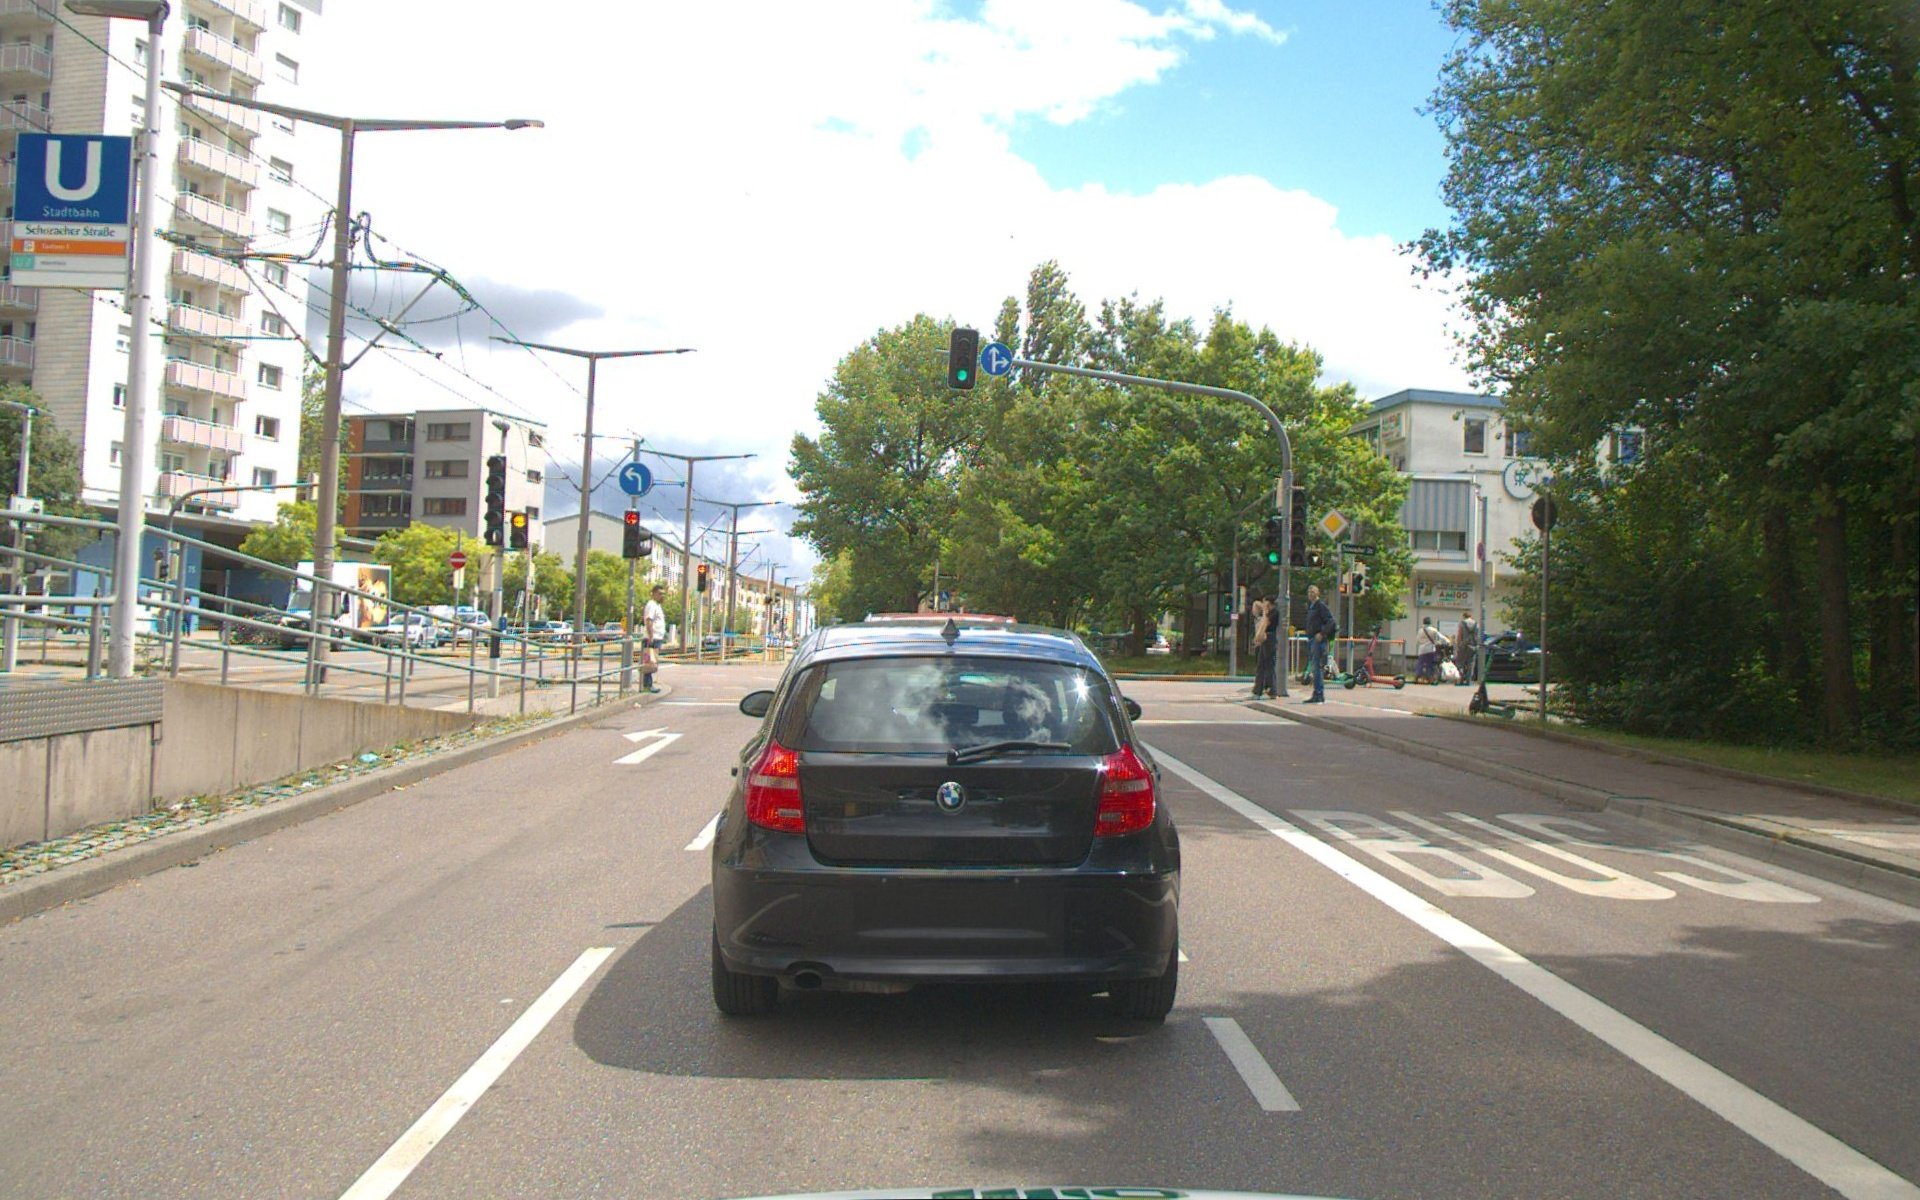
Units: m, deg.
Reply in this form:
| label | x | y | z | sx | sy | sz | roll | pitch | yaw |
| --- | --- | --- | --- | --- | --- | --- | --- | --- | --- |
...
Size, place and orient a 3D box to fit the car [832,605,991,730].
| label | x | y | z | sx | sy | sz | roll | pitch | yaw |
| --- | --- | --- | --- | --- | --- | --- | --- | --- | --- |
| car | -0.609 | 0.819 | 21.899 | 1.862 | 1.447 | 4.538 | 1 | 0 | -1 |

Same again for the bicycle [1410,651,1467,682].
| label | x | y | z | sx | sy | sz | roll | pitch | yaw |
| --- | --- | --- | --- | --- | --- | --- | --- | --- | --- |
| bicycle | 10.842 | 1.510 | 37.513 | 0.523 | 0.620 | 1.585 | 3 | -1 | -13 |

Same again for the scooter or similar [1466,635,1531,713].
| label | x | y | z | sx | sy | sz | roll | pitch | yaw |
| --- | --- | --- | --- | --- | --- | --- | --- | --- | --- |
| scooter or similar | 9.376 | 1.288 | 28.795 | 0.872 | 1.251 | 0.454 | 6 | -1 | -1 |

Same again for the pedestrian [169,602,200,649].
| label | x | y | z | sx | sy | sz | roll | pitch | yaw |
| --- | --- | --- | --- | --- | --- | --- | --- | --- | --- |
| pedestrian | -34.063 | 1.101 | 72.685 | 0.841 | 2.049 | 0.847 | 1 | -1 | 17 |

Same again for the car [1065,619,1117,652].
| label | x | y | z | sx | sy | sz | roll | pitch | yaw |
| --- | --- | --- | --- | --- | --- | --- | --- | --- | --- |
| car | 7.168 | 1.940 | 90.769 | 1.830 | 1.691 | 3.988 | 2 | -1 | -12 |

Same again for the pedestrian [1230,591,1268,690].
| label | x | y | z | sx | sy | sz | roll | pitch | yaw |
| --- | --- | --- | --- | --- | --- | --- | --- | --- | --- |
| pedestrian | 5.327 | 0.735 | 30.495 | 0.622 | 1.797 | 0.518 | 1 | -1 | 5 |

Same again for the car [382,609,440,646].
| label | x | y | z | sx | sy | sz | roll | pitch | yaw |
| --- | --- | --- | --- | --- | --- | --- | --- | --- | --- |
| car | -23.514 | 1.171 | 70.921 | 1.379 | 1.486 | 3.772 | 2 | -1 | -3 |

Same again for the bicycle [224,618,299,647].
| label | x | y | z | sx | sy | sz | roll | pitch | yaw |
| --- | --- | --- | --- | --- | --- | --- | --- | --- | --- |
| bicycle | -26.543 | 1.241 | 62.831 | 2.528 | 1.026 | 0.748 | 3 | -3 | -29 |

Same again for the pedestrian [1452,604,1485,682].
| label | x | y | z | sx | sy | sz | roll | pitch | yaw |
| --- | --- | --- | --- | --- | --- | --- | --- | --- | --- |
| pedestrian | 11.619 | 0.975 | 37.823 | 0.644 | 1.743 | 0.461 | 1 | -1 | 25 |

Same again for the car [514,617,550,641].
| label | x | y | z | sx | sy | sz | roll | pitch | yaw |
| --- | --- | --- | --- | --- | --- | --- | --- | --- | --- |
| car | -28.817 | 1.937 | 111.454 | 1.559 | 1.500 | 3.773 | 2 | -1 | -2 |

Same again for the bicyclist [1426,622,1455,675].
| label | x | y | z | sx | sy | sz | roll | pitch | yaw |
| --- | --- | --- | --- | --- | --- | --- | --- | --- | --- |
| bicyclist | 10.879 | 1.101 | 37.467 | 0.492 | 1.177 | 0.398 | 1 | -1 | -13 |

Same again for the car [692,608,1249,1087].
| label | x | y | z | sx | sy | sz | roll | pitch | yaw |
| --- | --- | --- | --- | --- | --- | --- | --- | --- | --- |
| car | 0.011 | 0.761 | 6.723 | 1.666 | 1.424 | 3.419 | 1 | 0 | -1 |

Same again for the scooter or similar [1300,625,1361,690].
| label | x | y | z | sx | sy | sz | roll | pitch | yaw |
| --- | --- | --- | --- | --- | --- | --- | --- | --- | --- |
| scooter or similar | 7.398 | 1.141 | 33.085 | 1.087 | 1.257 | 0.539 | 1 | -1 | 1 |

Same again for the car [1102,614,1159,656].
| label | x | y | z | sx | sy | sz | roll | pitch | yaw |
| --- | --- | --- | --- | --- | --- | --- | --- | --- | --- |
| car | 8.209 | 1.668 | 79.849 | 1.694 | 1.904 | 3.991 | 2 | -1 | -9 |

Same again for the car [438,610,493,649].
| label | x | y | z | sx | sy | sz | roll | pitch | yaw |
| --- | --- | --- | --- | --- | --- | --- | --- | --- | --- |
| car | -23.660 | 1.419 | 79.317 | 1.559 | 1.787 | 3.773 | 2 | -1 | -2 |

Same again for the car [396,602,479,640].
| label | x | y | z | sx | sy | sz | roll | pitch | yaw |
| --- | --- | --- | --- | --- | --- | --- | --- | --- | --- |
| car | -28.021 | 1.132 | 88.756 | 3.893 | 2.009 | 1.630 | 2 | -1 | -43 |

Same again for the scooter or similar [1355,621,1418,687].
| label | x | y | z | sx | sy | sz | roll | pitch | yaw |
| --- | --- | --- | --- | --- | --- | --- | --- | --- | --- |
| scooter or similar | 8.764 | 1.114 | 34.010 | 1.127 | 1.294 | 0.555 | 2 | -1 | 1 |

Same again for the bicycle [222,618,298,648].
| label | x | y | z | sx | sy | sz | roll | pitch | yaw |
| --- | --- | --- | --- | --- | --- | --- | --- | --- | --- |
| bicycle | -26.213 | 1.238 | 61.919 | 2.528 | 1.026 | 0.748 | 3 | -3 | -29 |

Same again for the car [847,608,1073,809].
| label | x | y | z | sx | sy | sz | roll | pitch | yaw |
| --- | --- | --- | --- | --- | --- | --- | --- | --- | --- |
| car | -0.024 | 0.792 | 13.625 | 1.605 | 1.424 | 3.419 | 1 | 0 | -1 |

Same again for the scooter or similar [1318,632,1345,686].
| label | x | y | z | sx | sy | sz | roll | pitch | yaw |
| --- | --- | --- | --- | --- | --- | --- | --- | --- | --- |
| scooter or similar | 7.865 | 1.240 | 35.007 | 0.536 | 1.082 | 1.263 | 1 | 0 | 13 |

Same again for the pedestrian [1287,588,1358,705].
| label | x | y | z | sx | sy | sz | roll | pitch | yaw |
| --- | --- | --- | --- | --- | --- | --- | --- | --- | --- |
| pedestrian | 6.046 | 0.764 | 27.589 | 0.989 | 1.909 | 0.798 | 1 | -1 | 0 |

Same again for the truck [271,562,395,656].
| label | x | y | z | sx | sy | sz | roll | pitch | yaw |
| --- | --- | --- | --- | --- | --- | --- | --- | --- | --- |
| truck | -22.852 | 0.329 | 60.649 | 2.237 | 3.172 | 7.311 | 2 | -1 | -5 |

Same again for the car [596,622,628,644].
| label | x | y | z | sx | sy | sz | roll | pitch | yaw |
| --- | --- | --- | --- | --- | --- | --- | --- | --- | --- |
| car | -25.774 | 2.421 | 122.518 | 1.618 | 1.561 | 3.869 | 1 | -1 | -2 |

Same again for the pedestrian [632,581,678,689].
| label | x | y | z | sx | sy | sz | roll | pitch | yaw |
| --- | --- | --- | --- | --- | --- | --- | --- | --- | --- |
| pedestrian | -5.083 | 0.584 | 27.563 | 0.674 | 1.764 | 0.687 | 1 | -1 | -5 |

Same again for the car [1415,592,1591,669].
| label | x | y | z | sx | sy | sz | roll | pitch | yaw |
| --- | --- | --- | --- | --- | --- | --- | --- | --- | --- |
| car | 15.913 | 0.897 | 48.541 | 4.450 | 2.049 | 1.996 | 2 | -1 | -8 |

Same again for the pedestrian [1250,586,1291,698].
| label | x | y | z | sx | sy | sz | roll | pitch | yaw |
| --- | --- | --- | --- | --- | --- | --- | --- | --- | --- |
| pedestrian | 5.375 | 0.728 | 28.678 | 0.622 | 1.909 | 0.518 | 1 | -1 | 5 |

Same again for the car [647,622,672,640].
| label | x | y | z | sx | sy | sz | roll | pitch | yaw |
| --- | --- | --- | --- | --- | --- | --- | --- | --- | --- |
| car | -26.202 | 2.691 | 144.434 | 1.618 | 1.561 | 3.869 | 1 | -1 | -2 |
